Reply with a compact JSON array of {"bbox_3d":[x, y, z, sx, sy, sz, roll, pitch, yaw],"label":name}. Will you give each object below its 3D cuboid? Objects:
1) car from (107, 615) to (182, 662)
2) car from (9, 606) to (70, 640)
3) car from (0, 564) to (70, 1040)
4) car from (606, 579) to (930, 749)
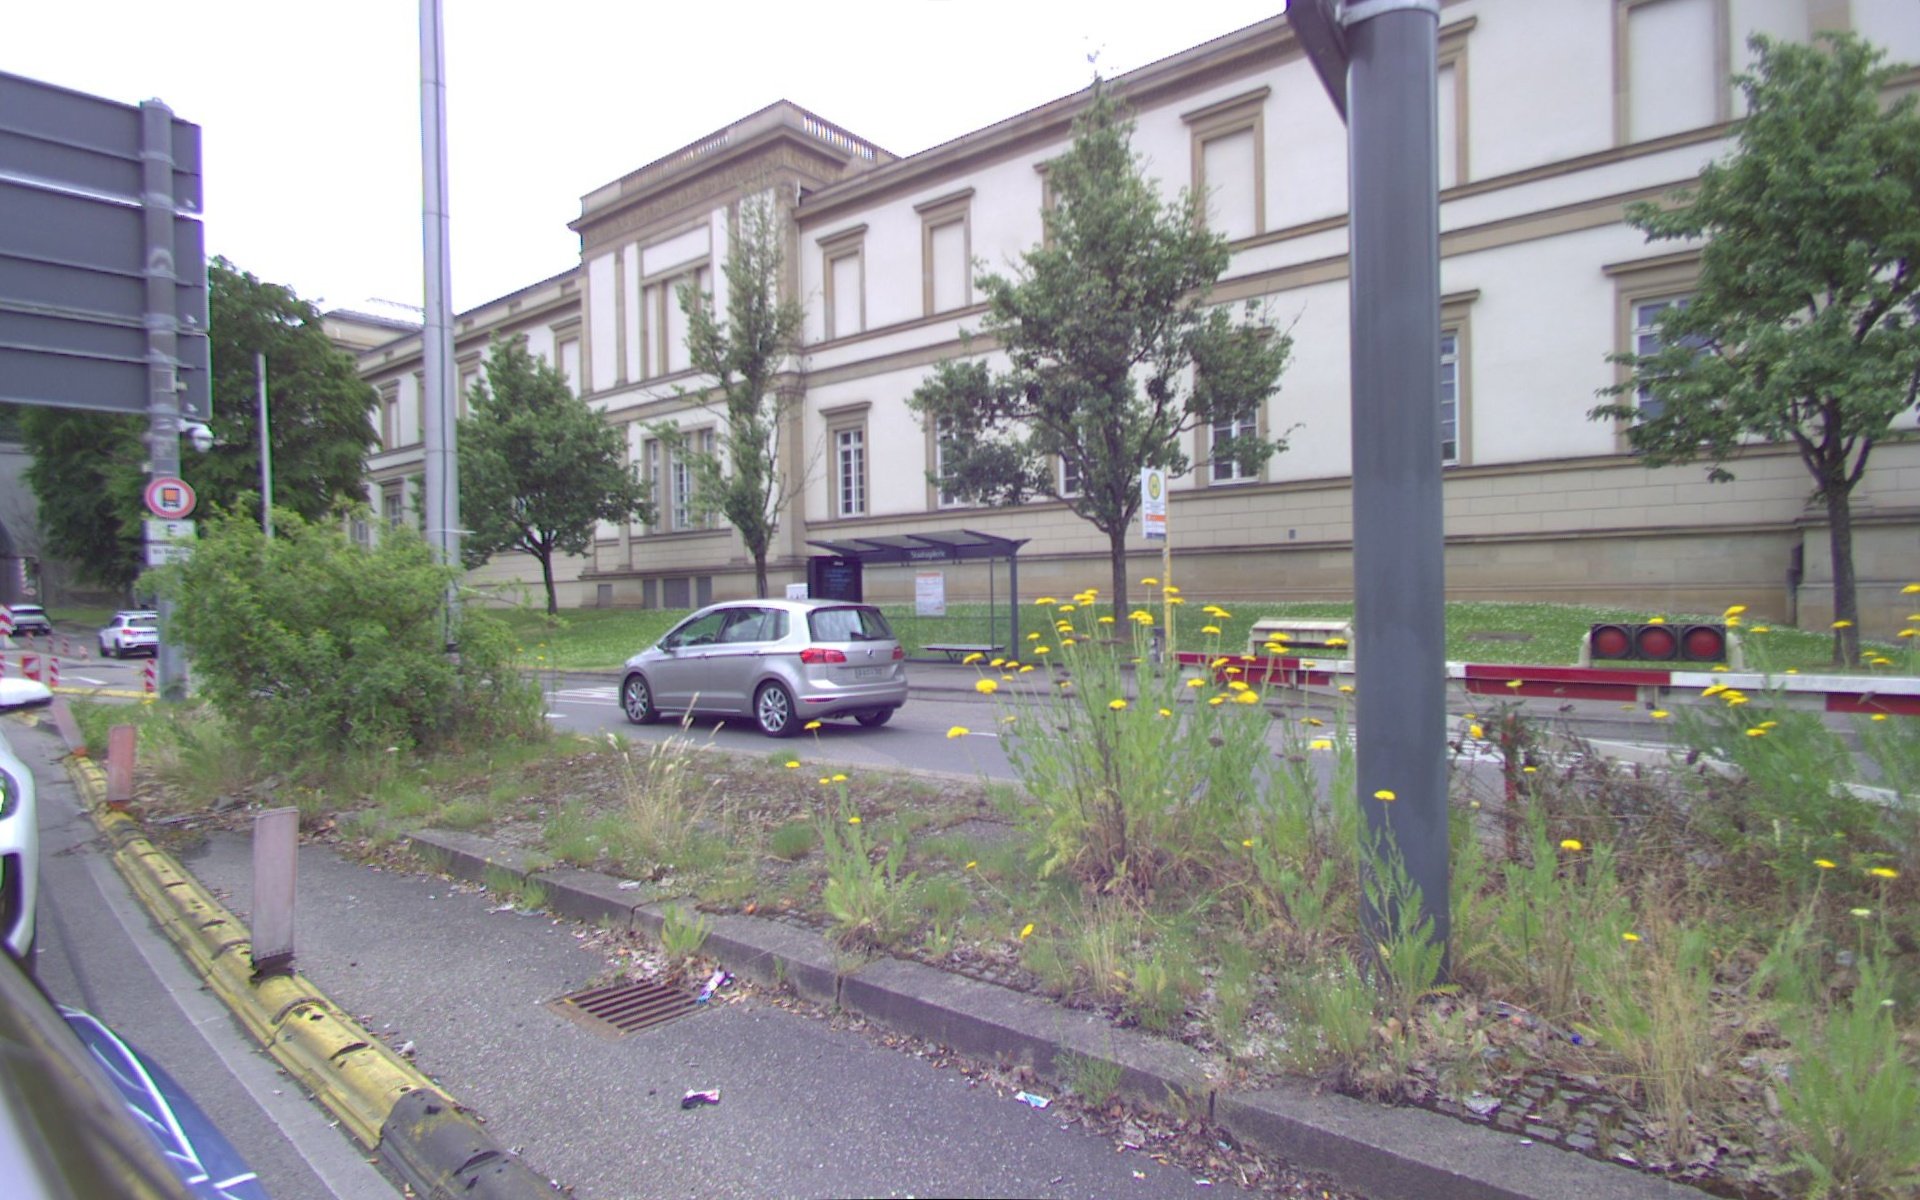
[{"bbox_3d":[-30.428,1.410,37.720,1.876,1.637,4.111,-1,-1,-43],"label":"car"},{"bbox_3d":[-48.683,1.179,53.514,4.265,1.704,1.851,-1,0,40],"label":"car"},{"bbox_3d":[-5.207,0.719,4.088,3.668,1.637,1.962,-1,0,41],"label":"car"},{"bbox_3d":[-2.459,0.673,12.464,3.997,1.759,1.813,-1,0,40],"label":"car"}]
